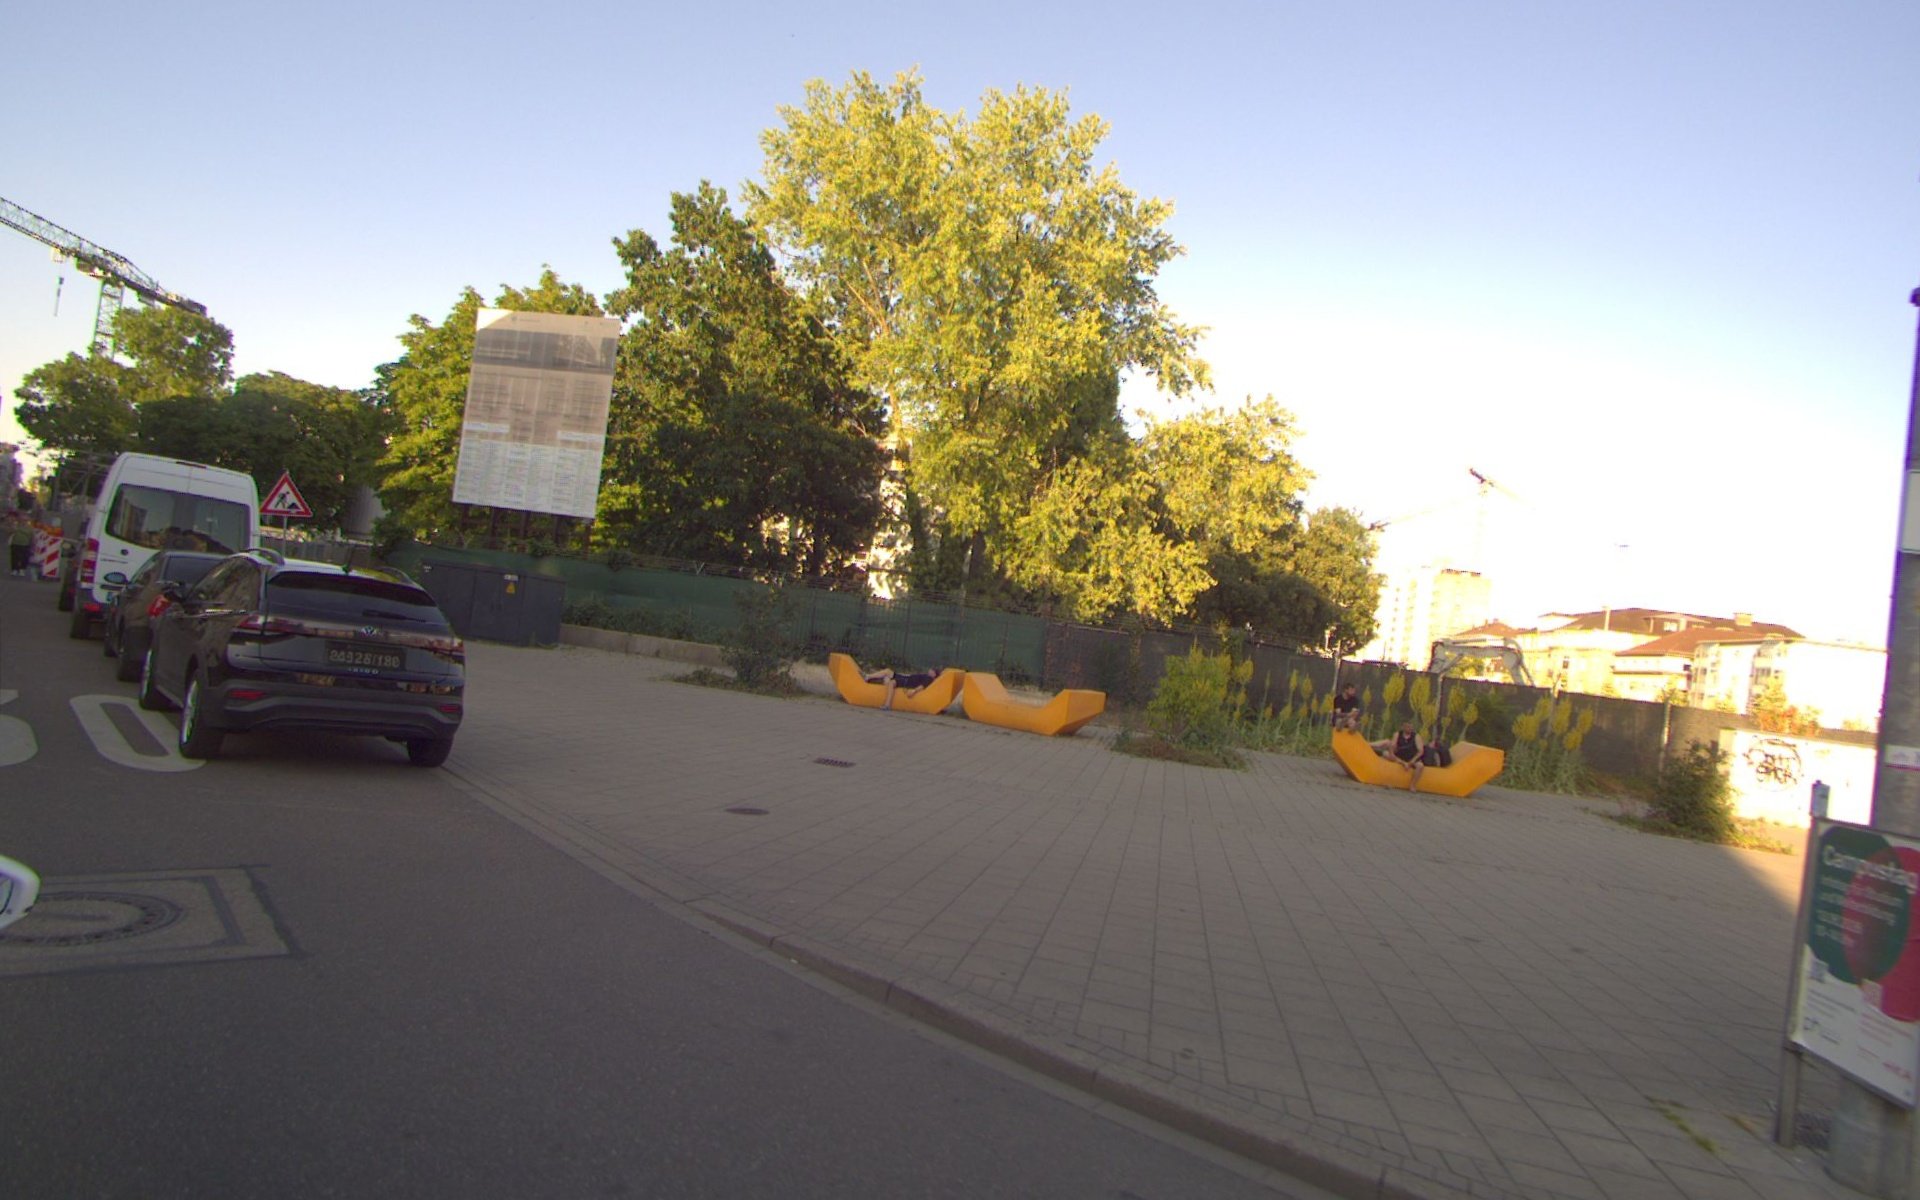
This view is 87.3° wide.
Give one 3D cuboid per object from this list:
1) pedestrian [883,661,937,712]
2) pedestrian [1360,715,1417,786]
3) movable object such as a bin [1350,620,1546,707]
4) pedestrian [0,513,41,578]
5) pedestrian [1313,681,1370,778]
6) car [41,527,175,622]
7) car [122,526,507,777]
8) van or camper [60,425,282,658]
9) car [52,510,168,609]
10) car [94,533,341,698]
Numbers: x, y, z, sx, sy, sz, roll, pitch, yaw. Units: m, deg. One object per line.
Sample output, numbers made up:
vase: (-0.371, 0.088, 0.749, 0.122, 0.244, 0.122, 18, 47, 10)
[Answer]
pedestrian: (-1.027, 1.760, 20.604, 0.964, 0.903, 0.561, 7, -2, -7)
pedestrian: (8.013, 2.799, 18.857, 0.721, 1.171, 0.992, 7, -2, 15)
movable object such as a bin: (14.959, 1.922, 30.997, 4.952, 2.037, 1.993, 6, -2, 40)
pedestrian: (-25.733, -1.490, 27.563, 0.611, 1.647, 0.809, 9, -2, -40)
pedestrian: (7.153, 2.404, 18.888, 0.749, 1.684, 0.823, 7, -1, 15)
car: (-16.638, -0.546, 19.624, 1.687, 1.476, 4.051, 9, -3, -42)
car: (-5.603, 0.319, 8.475, 1.775, 1.561, 4.237, 9, -3, -44)
van or camper: (-12.584, -0.859, 15.891, 2.070, 2.806, 6.377, 9, -3, -41)
car: (-19.473, -0.952, 23.016, 1.708, 1.869, 3.976, 9, -3, -42)
car: (-8.828, 0.092, 11.789, 1.724, 1.446, 4.420, 9, -3, -43)
